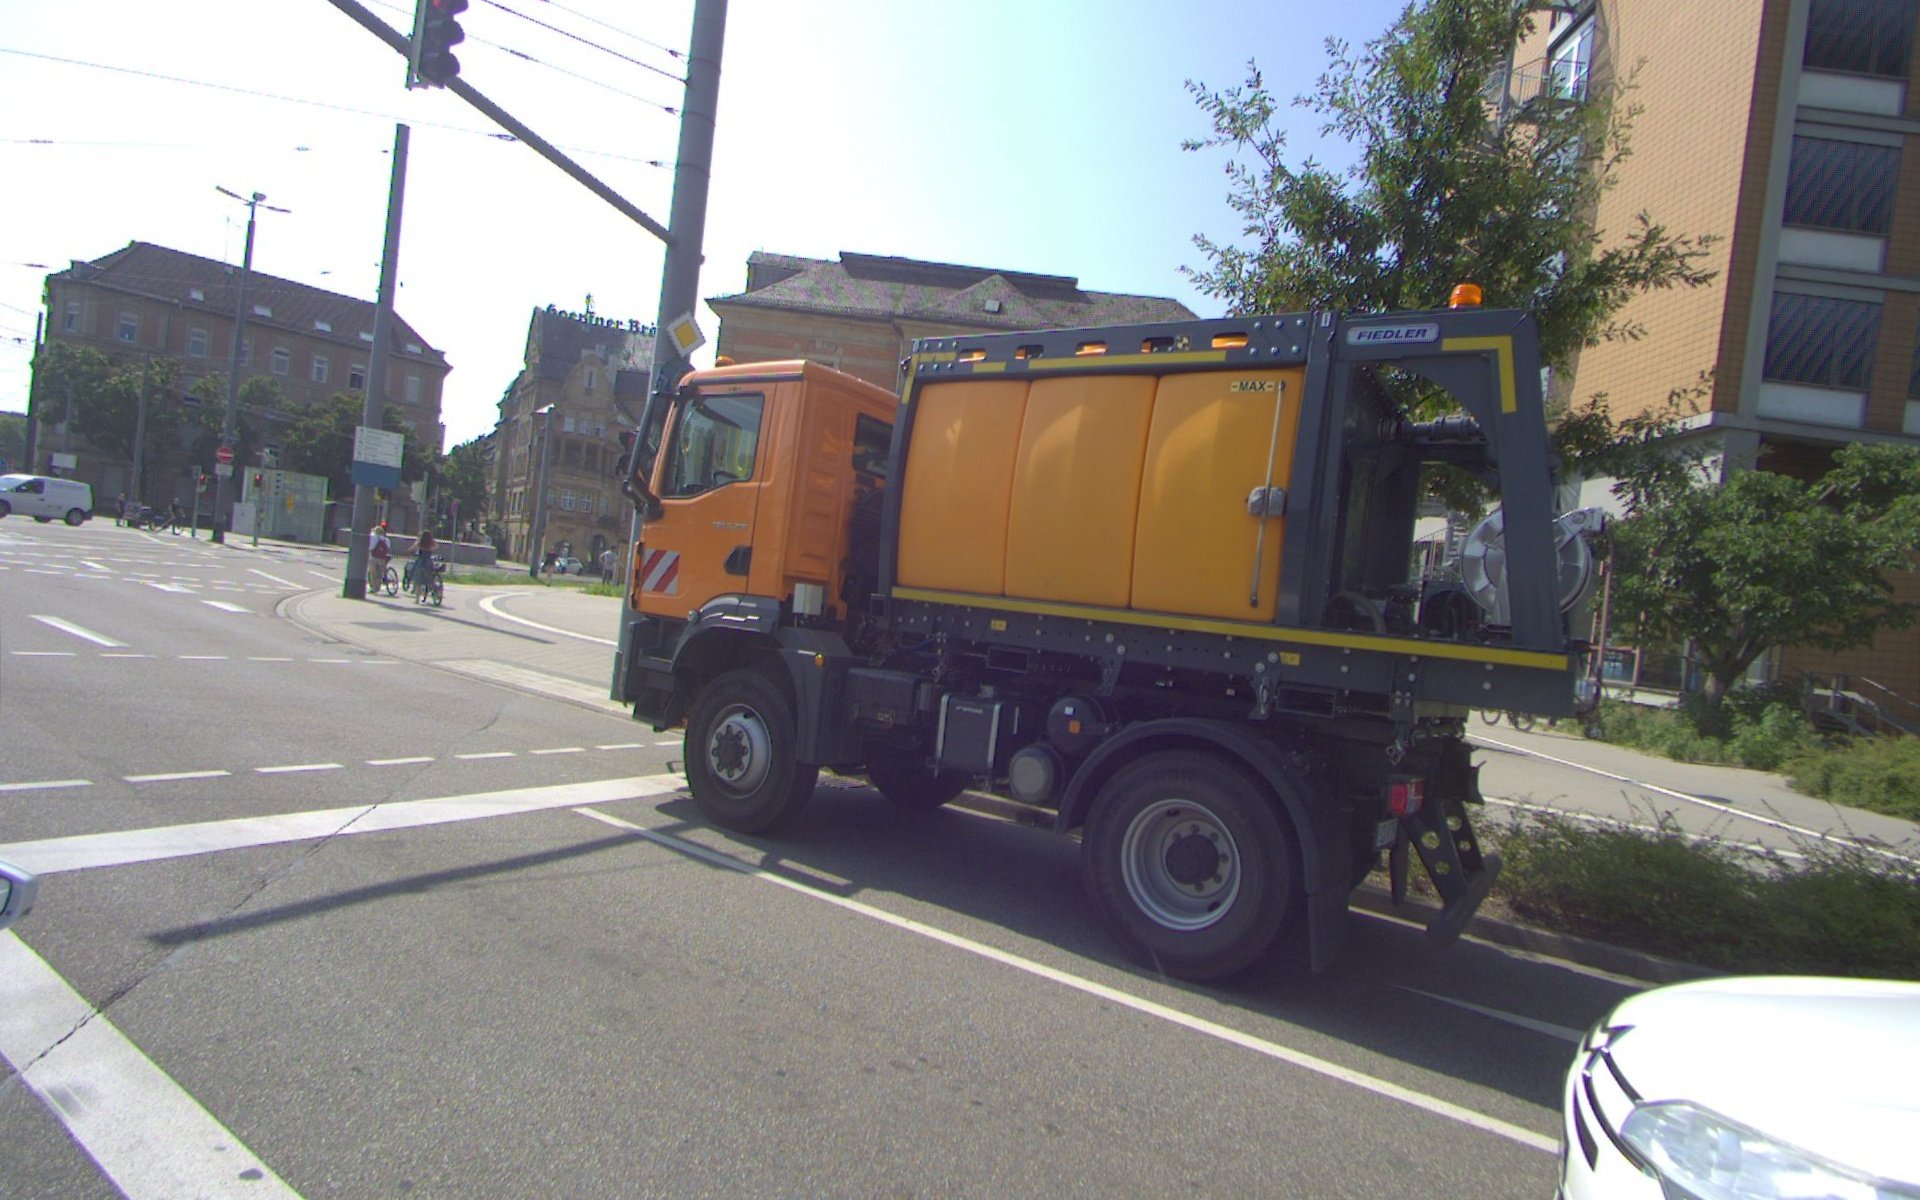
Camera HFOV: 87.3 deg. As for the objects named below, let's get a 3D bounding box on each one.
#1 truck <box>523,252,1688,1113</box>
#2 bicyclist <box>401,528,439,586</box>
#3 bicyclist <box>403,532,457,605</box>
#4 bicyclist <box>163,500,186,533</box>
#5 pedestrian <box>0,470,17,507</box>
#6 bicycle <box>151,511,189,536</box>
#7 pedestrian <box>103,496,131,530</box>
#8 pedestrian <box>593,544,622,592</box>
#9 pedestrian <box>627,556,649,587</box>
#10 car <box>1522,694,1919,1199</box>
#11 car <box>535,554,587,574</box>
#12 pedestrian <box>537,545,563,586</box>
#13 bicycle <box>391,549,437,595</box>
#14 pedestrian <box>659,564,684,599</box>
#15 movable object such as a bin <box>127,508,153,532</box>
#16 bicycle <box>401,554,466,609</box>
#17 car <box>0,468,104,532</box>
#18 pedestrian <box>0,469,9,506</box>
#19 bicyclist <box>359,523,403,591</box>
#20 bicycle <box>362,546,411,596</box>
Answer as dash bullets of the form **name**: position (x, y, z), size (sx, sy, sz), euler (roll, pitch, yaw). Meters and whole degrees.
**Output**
- **truck**: position (0.369, 0.077, 6.614), size (6.751, 3.174, 2.493), euler (7, 1, 34)
- **bicyclist**: position (-14.151, -1.136, 26.373), size (0.882, 1.410, 0.529), euler (7, 1, 44)
- **bicyclist**: position (-11.956, -0.701, 22.712), size (0.653, 1.537, 0.734), euler (7, 1, 36)
- **bicyclist**: position (-39.566, -4.202, 50.654), size (0.511, 1.548, 0.613), euler (7, 1, 8)
- **pedestrian**: position (-82.904, -9.730, 87.429), size (0.960, 3.055, 0.983), euler (7, 1, 38)
- **bicycle**: position (-39.793, -3.864, 50.685), size (1.622, 1.068, 0.471), euler (7, 1, 12)
- **pedestrian**: position (-42.373, -4.381, 50.583), size (0.519, 1.564, 0.852), euler (7, 1, 24)
- **pedestrian**: position (-13.557, -1.236, 38.724), size (0.808, 1.746, 0.546), euler (6, 1, -9)
- **pedestrian**: position (-13.320, -1.178, 41.610), size (0.659, 1.229, 0.523), euler (6, 1, -30)
- **car**: position (3.267, 1.170, 1.101), size (4.533, 1.446, 1.771), euler (7, 0, 31)
- **car**: position (-31.311, -2.824, 79.054), size (1.962, 1.103, 4.002), euler (7, 0, 7)
- **pedestrian**: position (-16.800, -1.414, 41.249), size (0.727, 1.595, 0.787), euler (6, 1, -14)
- **bicycle**: position (-14.468, -0.746, 26.660), size (1.632, 1.068, 0.535), euler (7, 1, 45)
- **pedestrian**: position (-12.538, -0.783, 43.717), size (0.679, 1.417, 0.767), euler (7, 1, 7)
- **movable object such as a bin**: position (-41.734, -4.059, 51.197), size (0.502, 1.091, 0.815), euler (7, 1, 21)
- **bicycle**: position (-11.831, -0.425, 22.590), size (1.795, 1.068, 0.492), euler (7, 1, 37)
- **car**: position (-36.887, -4.031, 39.499), size (1.962, 2.038, 4.628), euler (7, 0, 12)
- **pedestrian**: position (-82.338, -9.701, 86.119), size (0.960, 3.055, 0.983), euler (7, 1, 38)
- **bicyclist**: position (-14.095, -1.047, 24.485), size (0.702, 1.537, 0.626), euler (7, 1, 44)
- **bicycle**: position (-13.860, -0.714, 24.304), size (1.632, 1.068, 0.535), euler (7, 1, 45)
